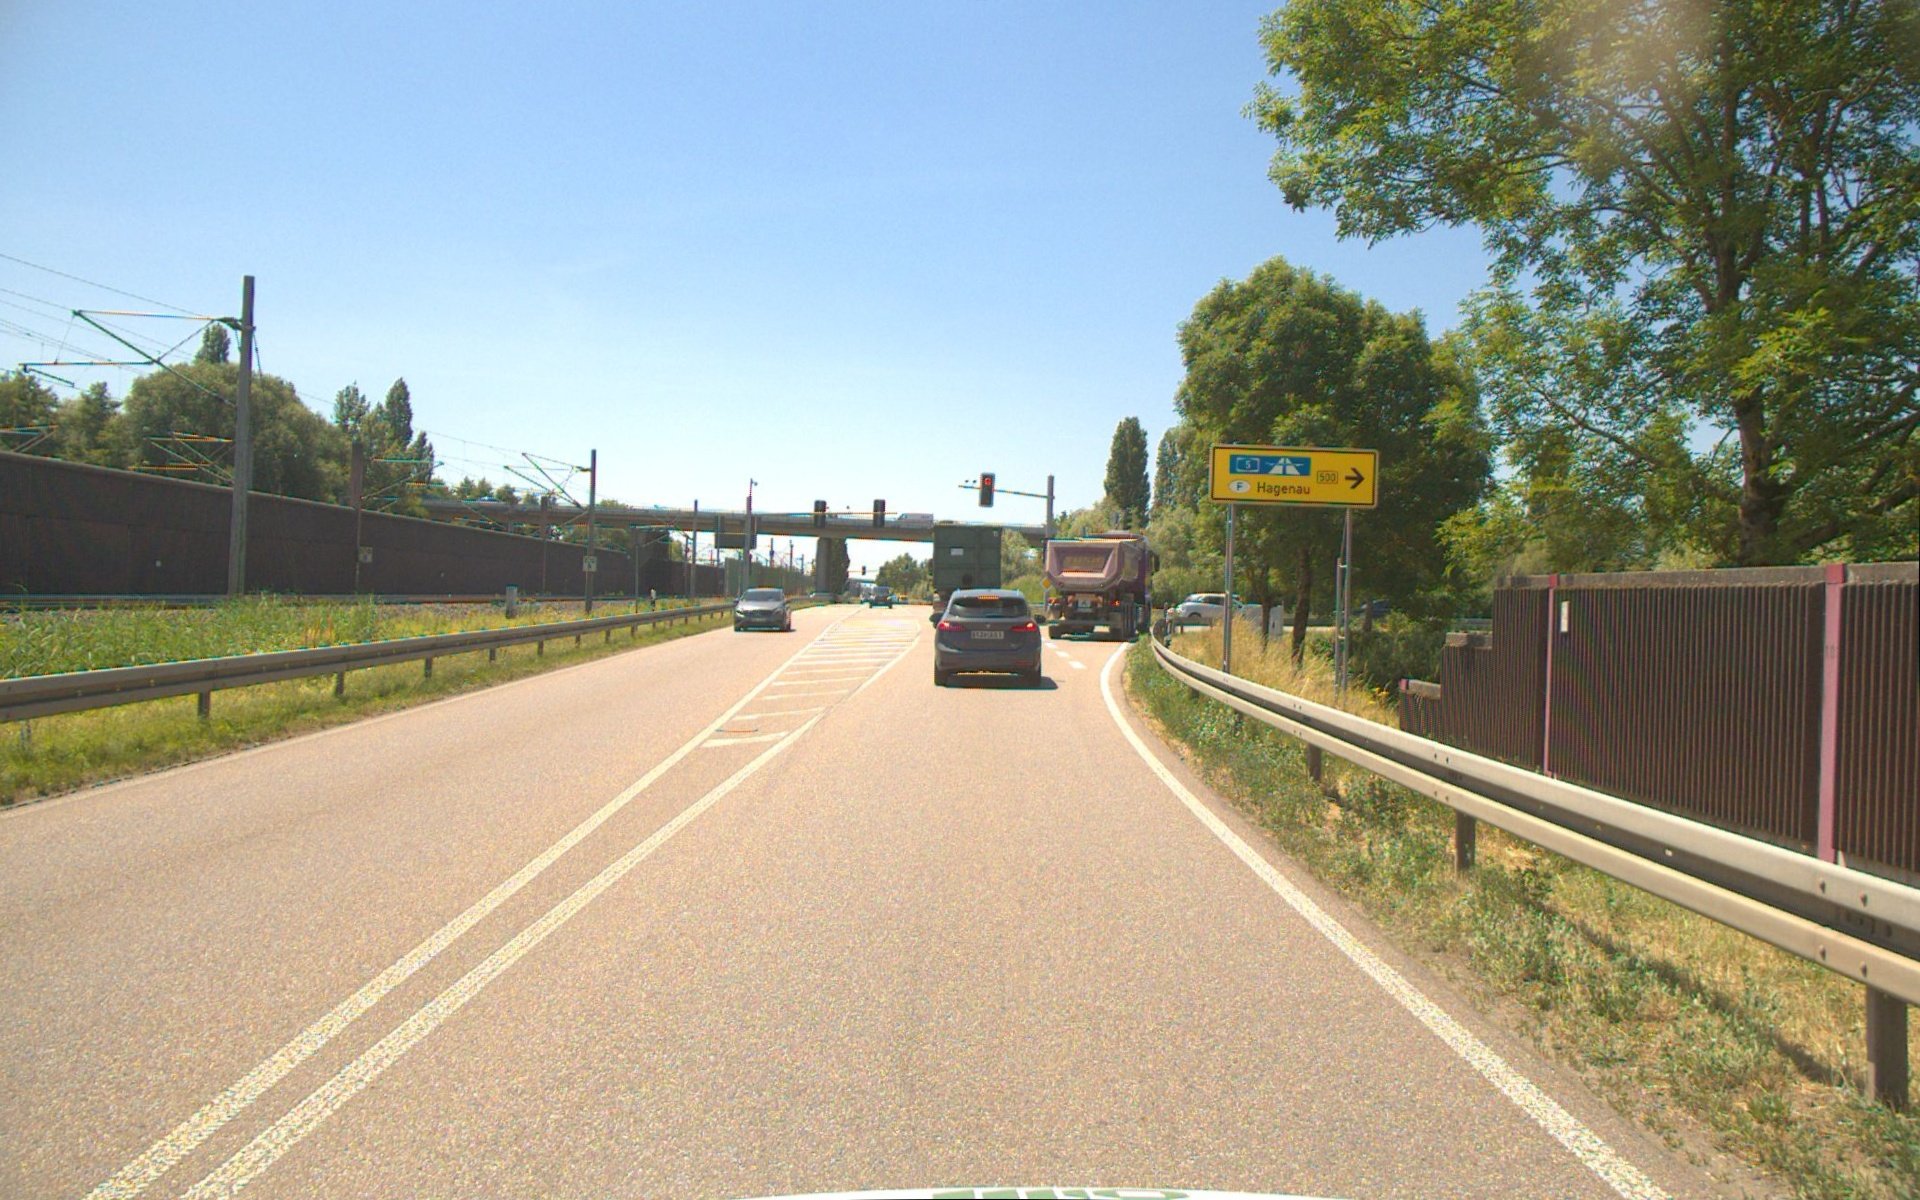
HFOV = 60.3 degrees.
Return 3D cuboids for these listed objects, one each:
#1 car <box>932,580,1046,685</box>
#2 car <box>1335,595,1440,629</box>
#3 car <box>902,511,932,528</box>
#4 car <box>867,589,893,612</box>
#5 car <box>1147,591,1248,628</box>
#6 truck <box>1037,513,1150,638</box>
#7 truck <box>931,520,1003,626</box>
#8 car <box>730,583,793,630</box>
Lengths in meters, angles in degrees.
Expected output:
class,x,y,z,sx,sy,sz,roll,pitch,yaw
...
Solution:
class,x,y,z,sx,sy,sz,roll,pitch,yaw
car,0.430,0.516,28.652,1.807,1.651,4.225,1,0,-1
car,21.740,0.596,84.242,4.824,1.660,1.934,1,0,0
car,-5.726,-10.663,218.202,3.907,2.049,1.999,1,0,-2
car,-6.613,0.009,137.090,1.888,1.798,4.597,2,1,0
car,11.152,0.442,77.930,4.550,1.660,1.935,1,0,5
truck,4.878,-0.795,57.986,2.773,3.888,11.895,1,0,10
truck,0.186,-1.042,64.659,2.537,3.802,9.573,1,1,-1
car,-6.843,0.200,57.432,1.827,1.511,4.885,1,0,-3
